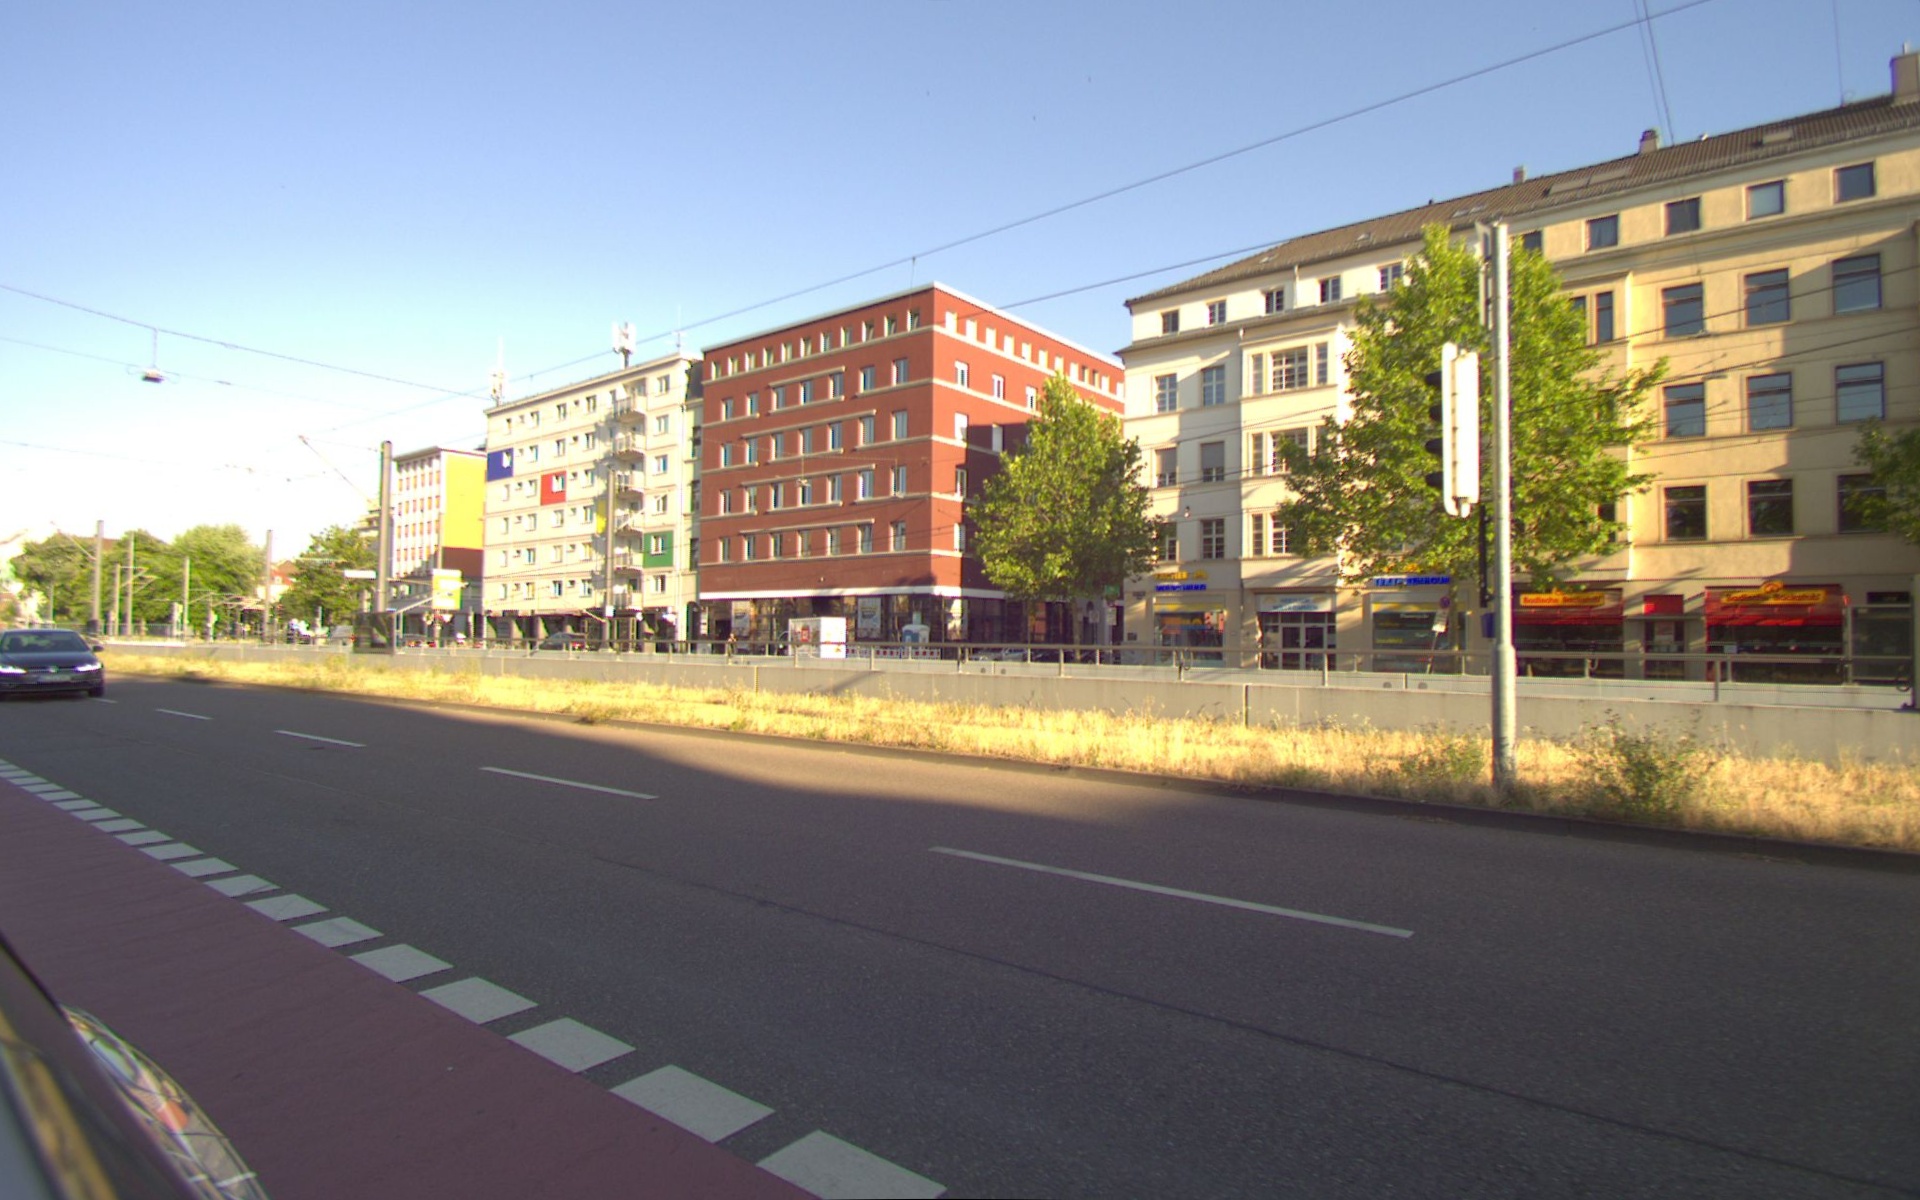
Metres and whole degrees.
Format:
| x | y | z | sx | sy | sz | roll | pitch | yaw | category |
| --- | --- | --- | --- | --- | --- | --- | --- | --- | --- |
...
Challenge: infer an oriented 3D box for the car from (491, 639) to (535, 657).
| x | y | z | sx | sy | sz | roll | pitch | yaw | category |
| --- | --- | --- | --- | --- | --- | --- | --- | --- | --- |
| -47.708 | 5.125 | 108.116 | 1.740 | 1.794 | 3.948 | -1 | -1 | 39 | car |

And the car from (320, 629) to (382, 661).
| x | y | z | sx | sy | sz | roll | pitch | yaw | category |
| --- | --- | --- | --- | --- | --- | --- | --- | --- | --- |
| -40.811 | 2.980 | 67.791 | 4.769 | 2.029 | 1.974 | -1 | -3 | 38 | car |

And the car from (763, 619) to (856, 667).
| x | y | z | sx | sy | sz | roll | pitch | yaw | category |
| --- | --- | --- | --- | --- | --- | --- | --- | --- | --- |
| -7.087 | 2.037 | 47.422 | 4.574 | 2.150 | 1.930 | -2 | -4 | 44 | car |

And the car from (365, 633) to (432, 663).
| x | y | z | sx | sy | sz | roll | pitch | yaw | category |
| --- | --- | --- | --- | --- | --- | --- | --- | --- | --- |
| -34.325 | 2.916 | 61.836 | 4.892 | 1.811 | 1.973 | -2 | -3 | 41 | car |

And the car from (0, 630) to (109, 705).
| x | y | z | sx | sy | sz | roll | pitch | yaw | category |
| --- | --- | --- | --- | --- | --- | --- | --- | --- | --- |
| -19.617 | 1.381 | 21.355 | 4.239 | 1.437 | 1.748 | -2 | -3 | 39 | car |

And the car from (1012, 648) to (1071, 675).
| x | y | z | sx | sy | sz | roll | pitch | yaw | category |
| --- | --- | --- | --- | --- | --- | --- | --- | --- | --- |
| 4.713 | 3.508 | 57.937 | 1.640 | 1.506 | 3.538 | -2 | -4 | 40 | car |
